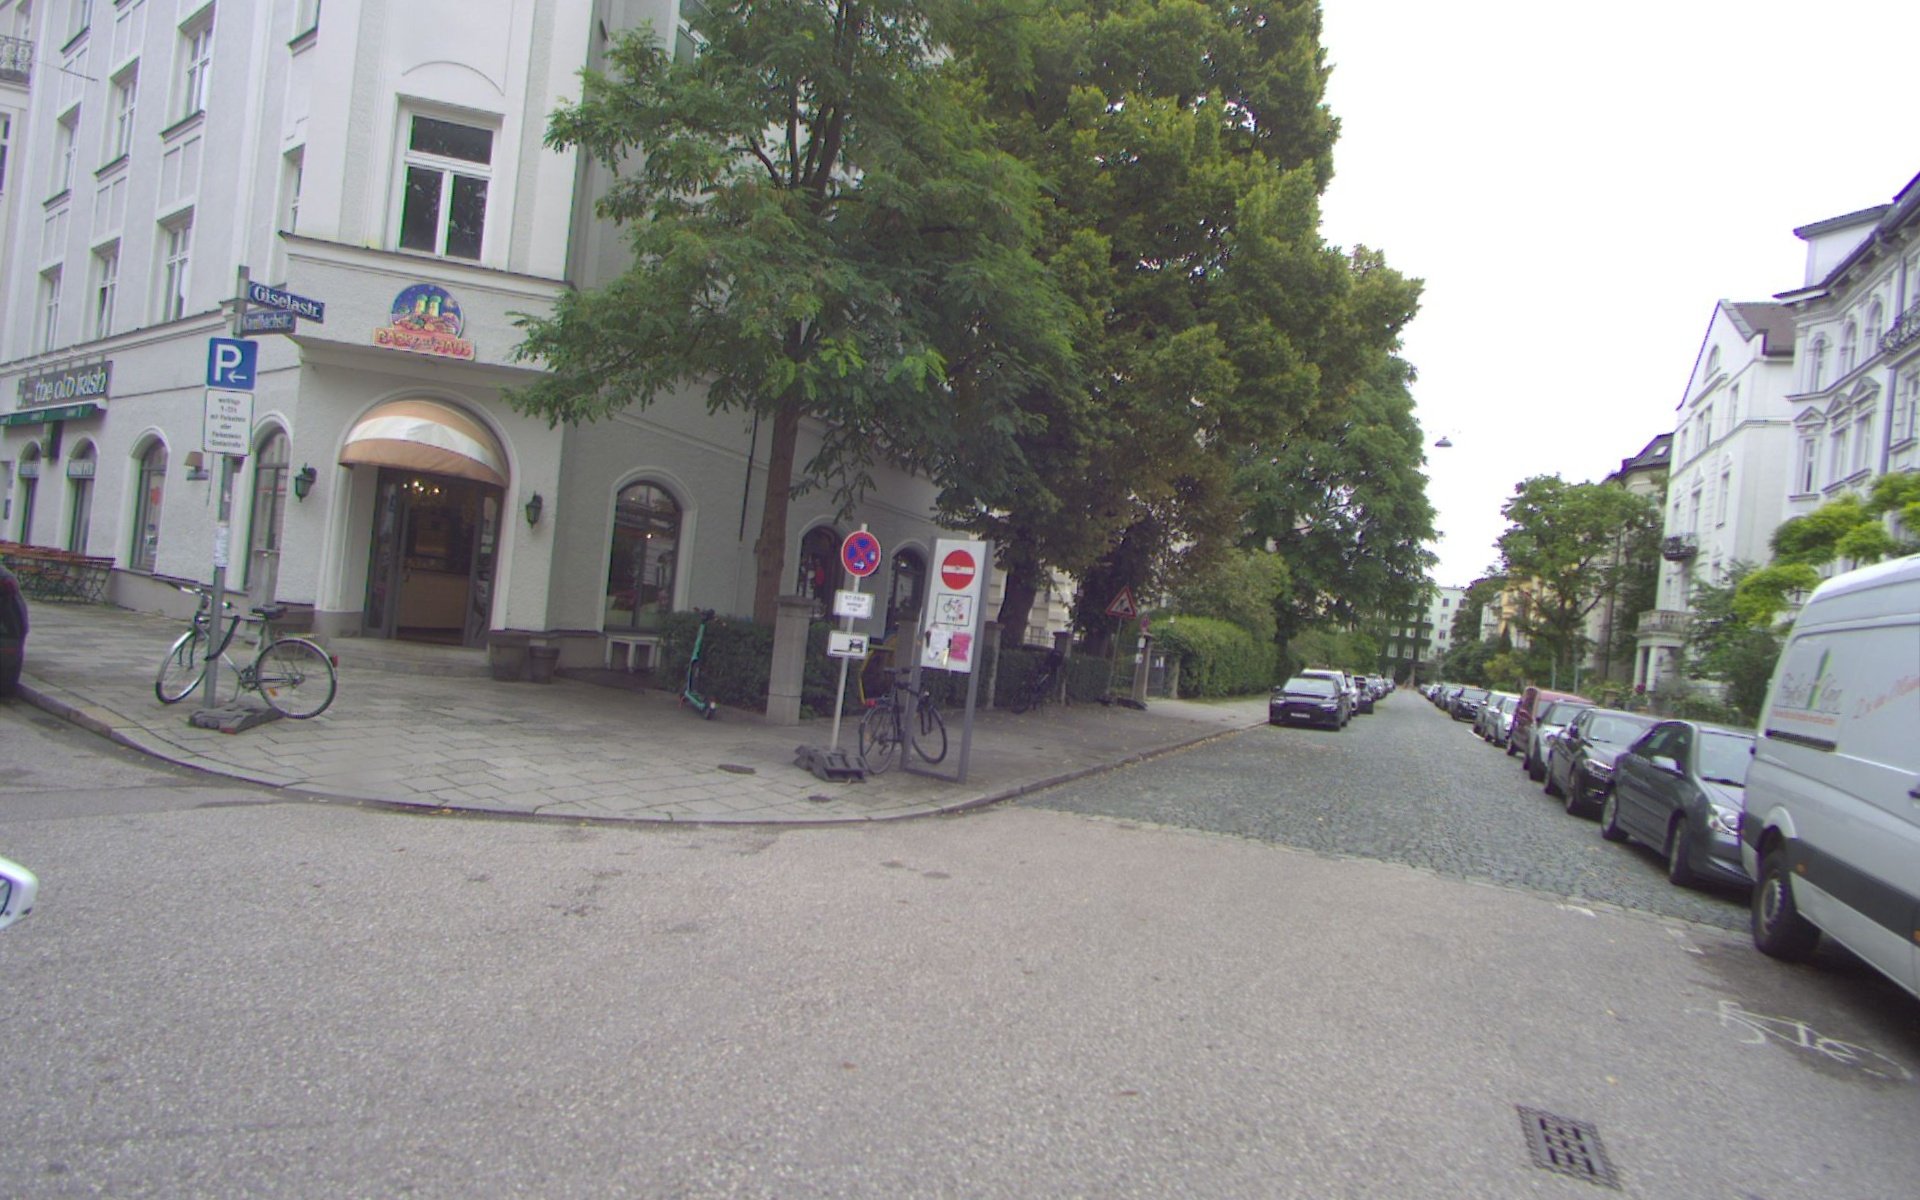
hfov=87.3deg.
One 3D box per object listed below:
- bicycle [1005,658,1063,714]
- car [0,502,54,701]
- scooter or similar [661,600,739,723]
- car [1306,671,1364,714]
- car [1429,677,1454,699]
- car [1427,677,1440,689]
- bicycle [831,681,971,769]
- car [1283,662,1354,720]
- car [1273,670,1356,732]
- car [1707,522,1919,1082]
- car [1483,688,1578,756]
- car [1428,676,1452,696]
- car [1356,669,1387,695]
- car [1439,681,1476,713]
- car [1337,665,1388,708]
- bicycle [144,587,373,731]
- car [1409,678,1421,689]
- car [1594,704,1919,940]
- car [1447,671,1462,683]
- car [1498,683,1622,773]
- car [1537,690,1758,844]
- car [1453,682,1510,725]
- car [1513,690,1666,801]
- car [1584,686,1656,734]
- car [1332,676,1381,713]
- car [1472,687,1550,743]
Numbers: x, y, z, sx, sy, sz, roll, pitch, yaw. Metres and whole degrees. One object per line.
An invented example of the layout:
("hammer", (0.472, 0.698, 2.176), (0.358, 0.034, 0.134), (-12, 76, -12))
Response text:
("bicycle", (1.412, 1.637, 18.985), (0.423, 0.959, 1.460), (9, 0, 28))
("car", (-10.157, -0.235, 9.110), (4.221, 1.654, 1.823), (6, -3, 35))
("scooter or similar", (-3.134, 0.711, 12.052), (0.424, 1.294, 1.268), (7, 0, -31))
("car", (14.555, 3.562, 38.964), (1.779, 1.455, 3.999), (4, -3, 24))
("car", (47.066, 8.586, 98.383), (1.964, 1.821, 4.282), (6, -1, 25))
("car", (87.495, 15.368, 185.791), (1.964, 2.037, 4.453), (6, -1, 25))
("bicycle", (-0.589, 1.274, 10.420), (0.537, 0.793, 1.411), (6, 0, 42))
("car", (11.707, 2.932, 32.715), (1.779, 1.636, 3.999), (4, -3, 24))
("car", (10.082, 2.815, 28.430), (1.780, 1.455, 4.055), (4, -3, 25))
("car", (5.687, 1.020, 4.774), (2.023, 2.622, 5.910), (8, -1, 25))
("car", (16.870, 3.564, 29.937), (1.831, 1.610, 4.000), (6, -1, 23))
("car", (49.951, 8.948, 104.764), (1.964, 1.821, 4.282), (6, -1, 25))
("car", (33.392, 6.621, 81.610), (1.964, 1.821, 4.282), (6, -1, 25))
("car", (33.126, 6.450, 67.057), (1.964, 1.821, 4.282), (6, -1, 25))
("car", (20.350, 4.361, 50.768), (1.964, 1.821, 4.282), (6, -1, 25))
("bicycle", (-6.082, 0.482, 8.731), (1.722, 1.012, 0.540), (6, 3, 11))
("car", (90.818, 16.710, 200.887), (1.964, 2.037, 4.453), (6, -1, 25))
("car", (7.668, 1.934, 9.763), (1.763, 1.465, 4.000), (9, -1, 23))
("car", (81.737, 12.765, 166.348), (1.964, 1.821, 4.282), (6, -1, 25))
("car", (14.563, 3.039, 24.651), (1.899, 1.763, 4.000), (6, -1, 23))
("car", (9.691, 2.237, 14.548), (1.779, 1.587, 4.252), (8, -1, 25))
("car", (25.387, 4.996, 49.101), (1.964, 1.704, 4.482), (6, -2, 23))
("car", (11.957, 2.677, 19.386), (1.832, 1.626, 3.999), (6, -2, 25))
("car", (30.061, 4.973, 45.930), (1.964, 1.837, 3.999), (6, -2, 24))
("car", (17.568, 4.158, 44.521), (1.696, 1.384, 3.999), (4, -3, 25))
("car", (19.425, 4.001, 35.607), (1.900, 1.610, 4.166), (6, -2, 24))
